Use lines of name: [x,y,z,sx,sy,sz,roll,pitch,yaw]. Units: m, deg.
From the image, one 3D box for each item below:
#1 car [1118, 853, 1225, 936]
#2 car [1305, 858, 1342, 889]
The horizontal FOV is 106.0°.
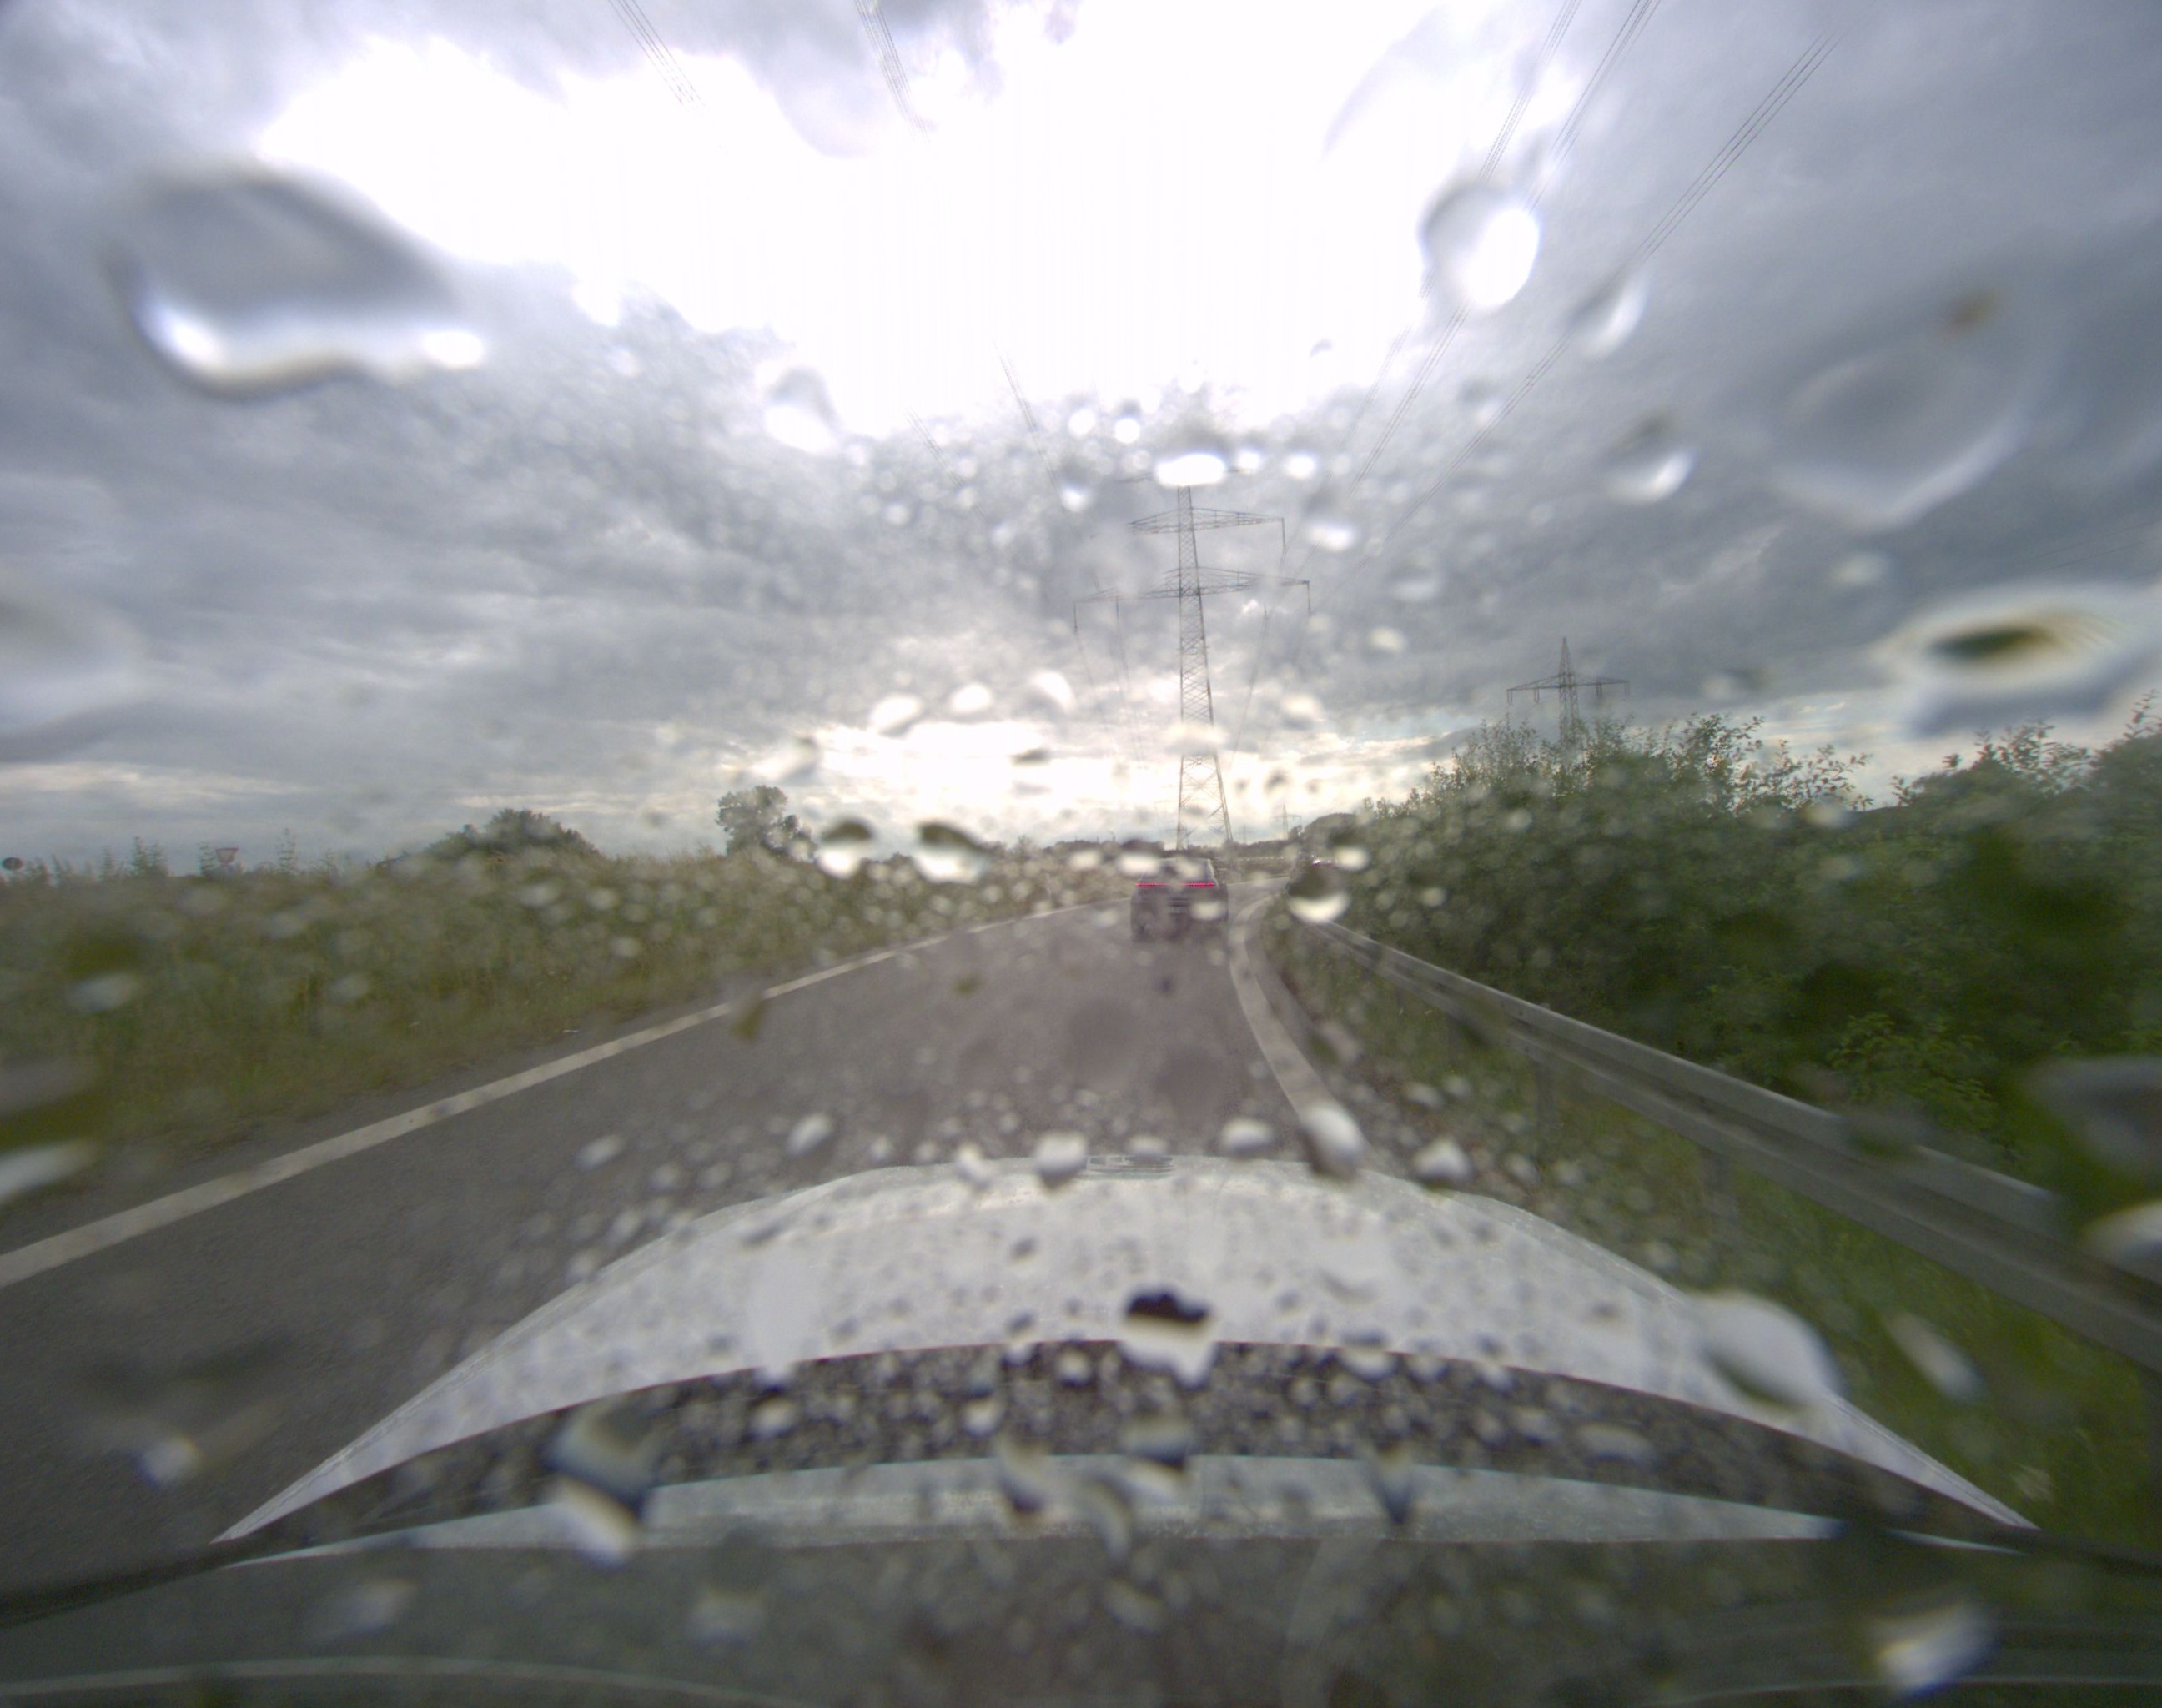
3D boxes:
car: [2.073,0.773,17.606,1.981,1.566,4.161,-1,0,10]
car: [17.909,1.399,59.997,2.103,2.018,5.563,-3,-1,21]
